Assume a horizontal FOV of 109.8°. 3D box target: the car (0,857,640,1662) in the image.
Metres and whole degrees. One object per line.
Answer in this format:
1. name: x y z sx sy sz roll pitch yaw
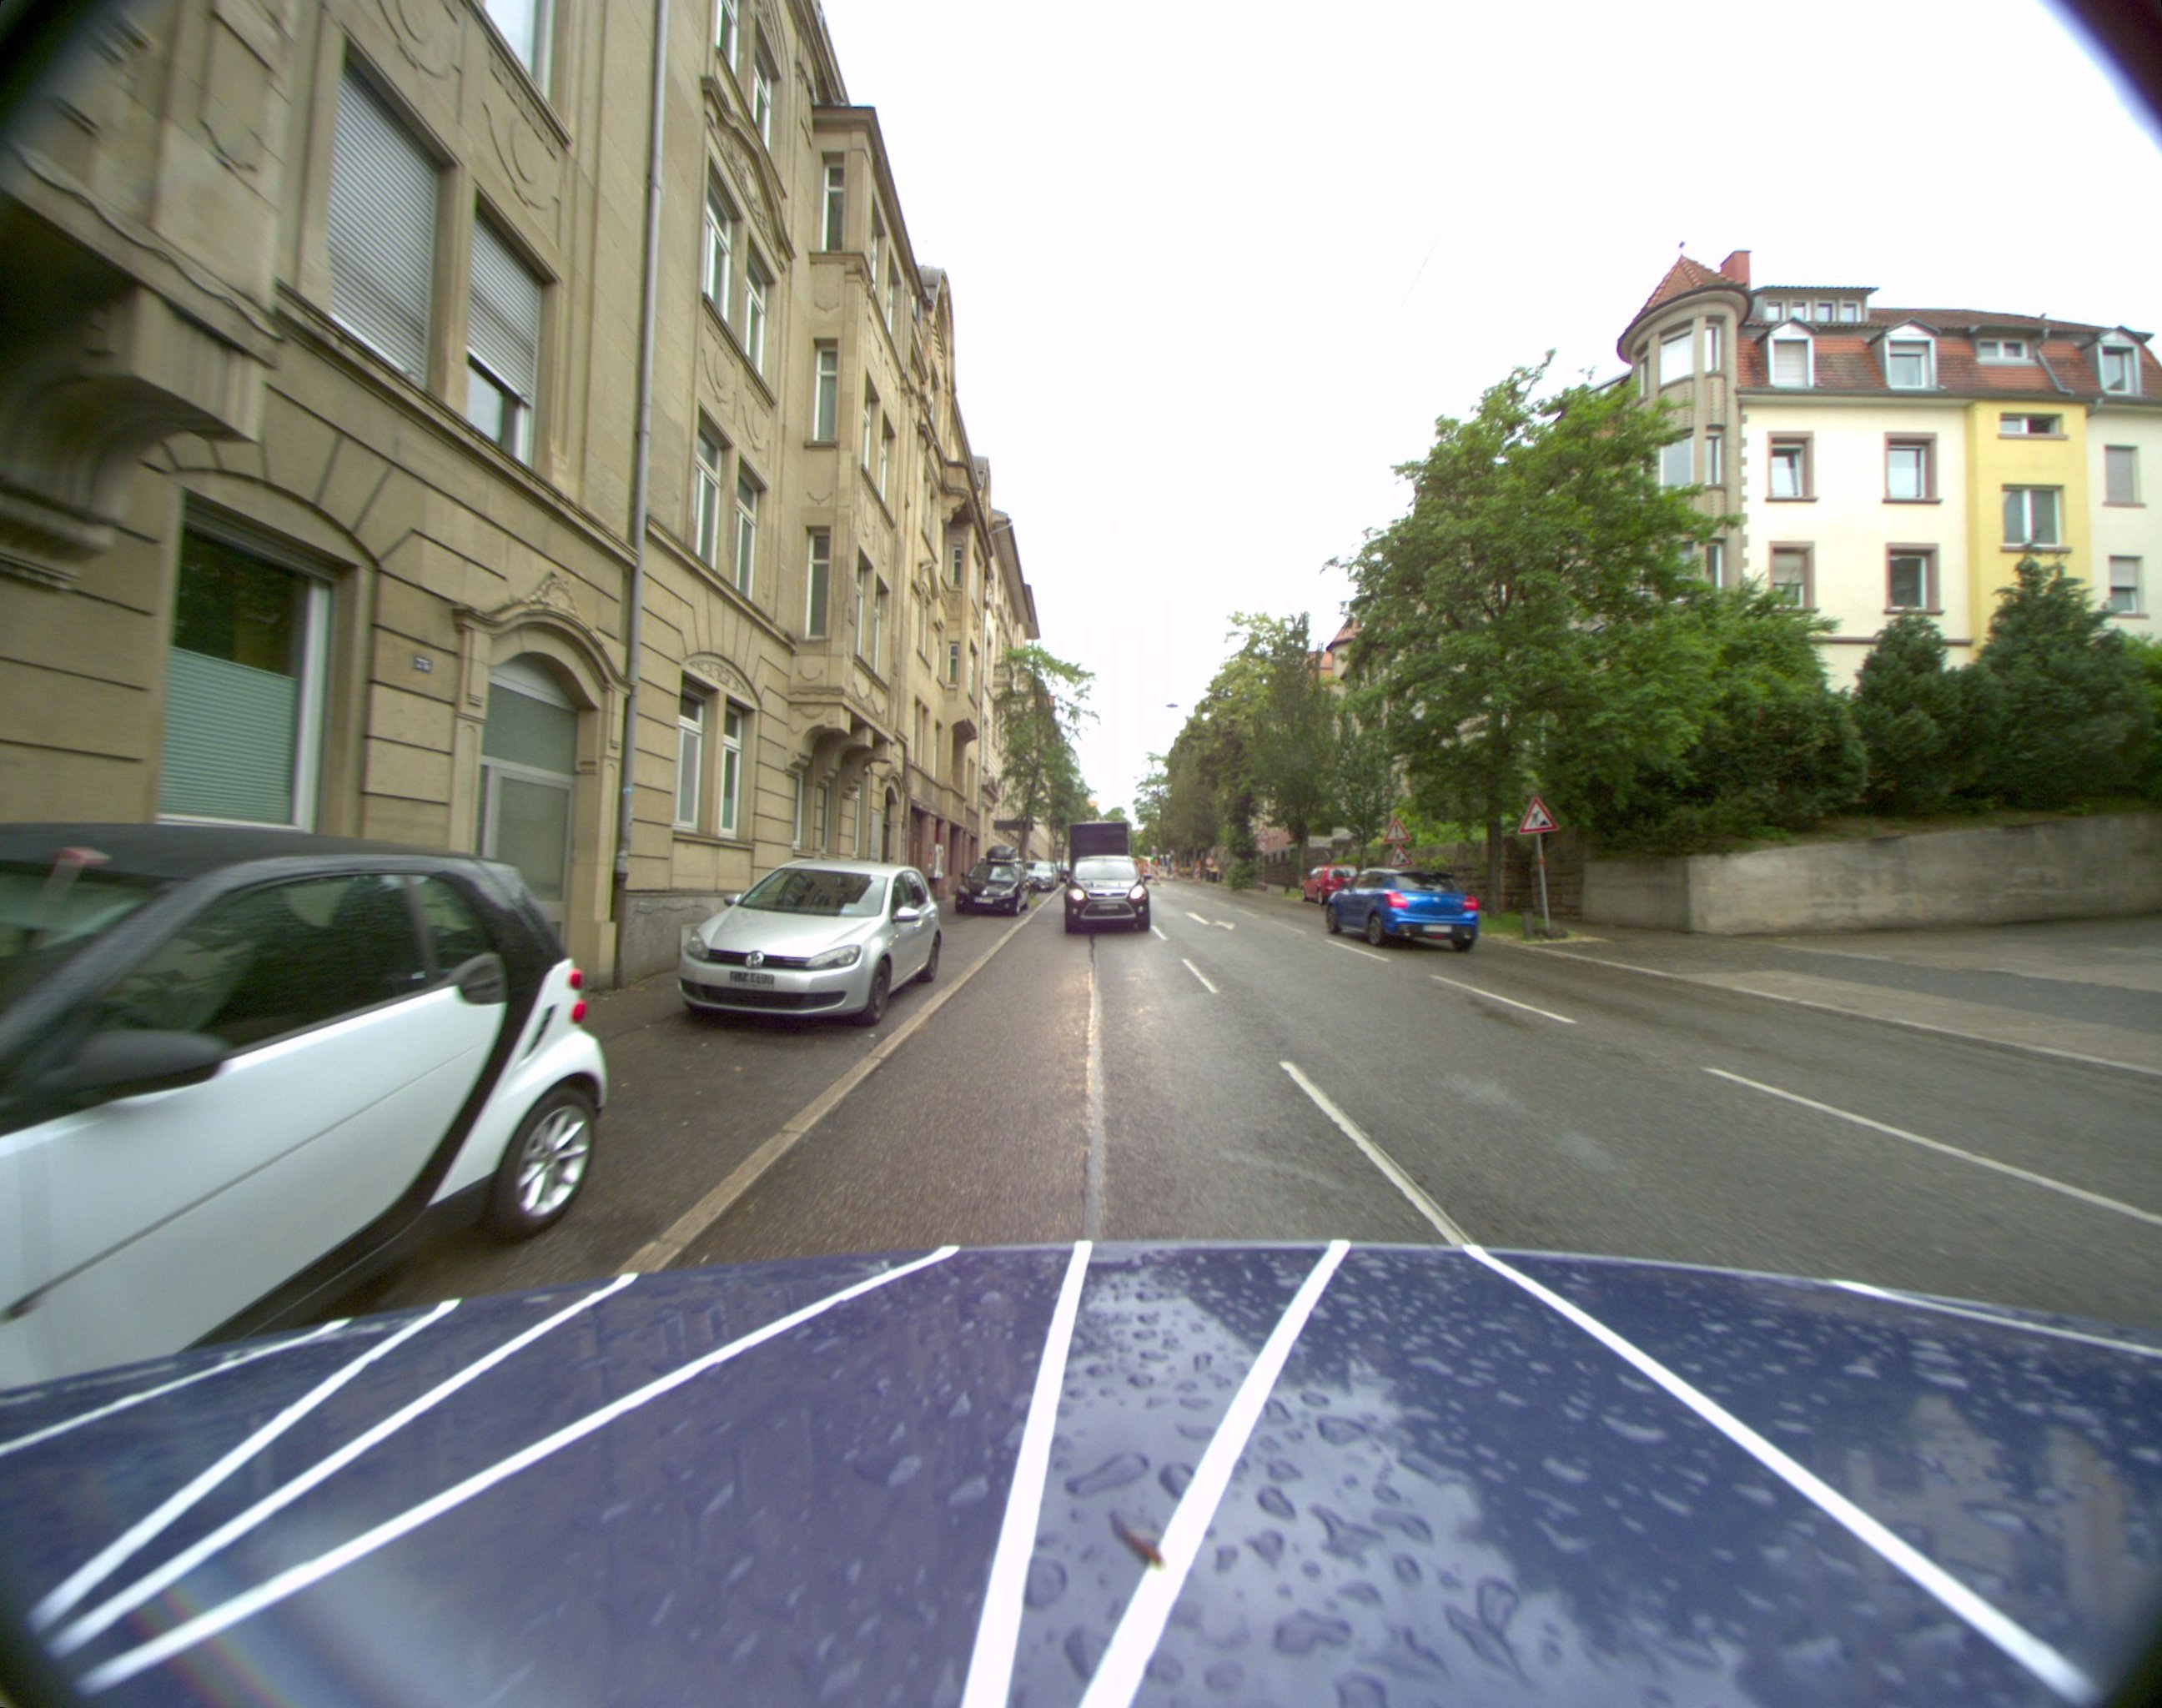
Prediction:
1. car: -2.772 0.825 2.037 1.302 1.534 2.976 4 0 1

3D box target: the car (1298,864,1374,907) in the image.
1. car: 9.487 1.126 28.561 1.617 1.442 4.064 -1 0 2

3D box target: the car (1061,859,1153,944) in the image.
1. car: 0.595 0.952 17.340 1.823 1.662 4.523 -1 0 2

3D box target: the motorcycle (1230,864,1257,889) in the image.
1. motorcycle: 9.552 1.298 44.705 0.802 1.406 3.061 -2 0 -2

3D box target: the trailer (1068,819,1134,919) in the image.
1. trailer: 0.579 0.391 23.407 1.783 2.744 4.817 -1 1 0

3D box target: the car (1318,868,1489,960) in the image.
1. car: 6.099 1.063 14.864 1.719 1.442 3.742 2 0 0

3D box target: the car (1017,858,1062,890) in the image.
1. car: -2.018 0.953 37.862 1.794 1.444 4.039 3 0 2

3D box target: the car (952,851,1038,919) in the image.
1. car: -2.360 0.821 21.898 1.764 1.641 4.099 4 0 2

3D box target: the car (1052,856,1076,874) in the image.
1. car: -1.513 1.012 69.077 1.910 1.502 4.318 3 0 2

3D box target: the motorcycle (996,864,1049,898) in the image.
1. motorcycle: -2.242 1.052 29.416 0.523 1.236 2.282 3 -1 41

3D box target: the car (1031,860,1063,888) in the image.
1. car: -1.886 1.090 43.053 1.495 1.440 3.181 2 0 2

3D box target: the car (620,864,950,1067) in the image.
1. car: -2.694 0.907 8.021 1.764 1.443 4.000 4 0 1
